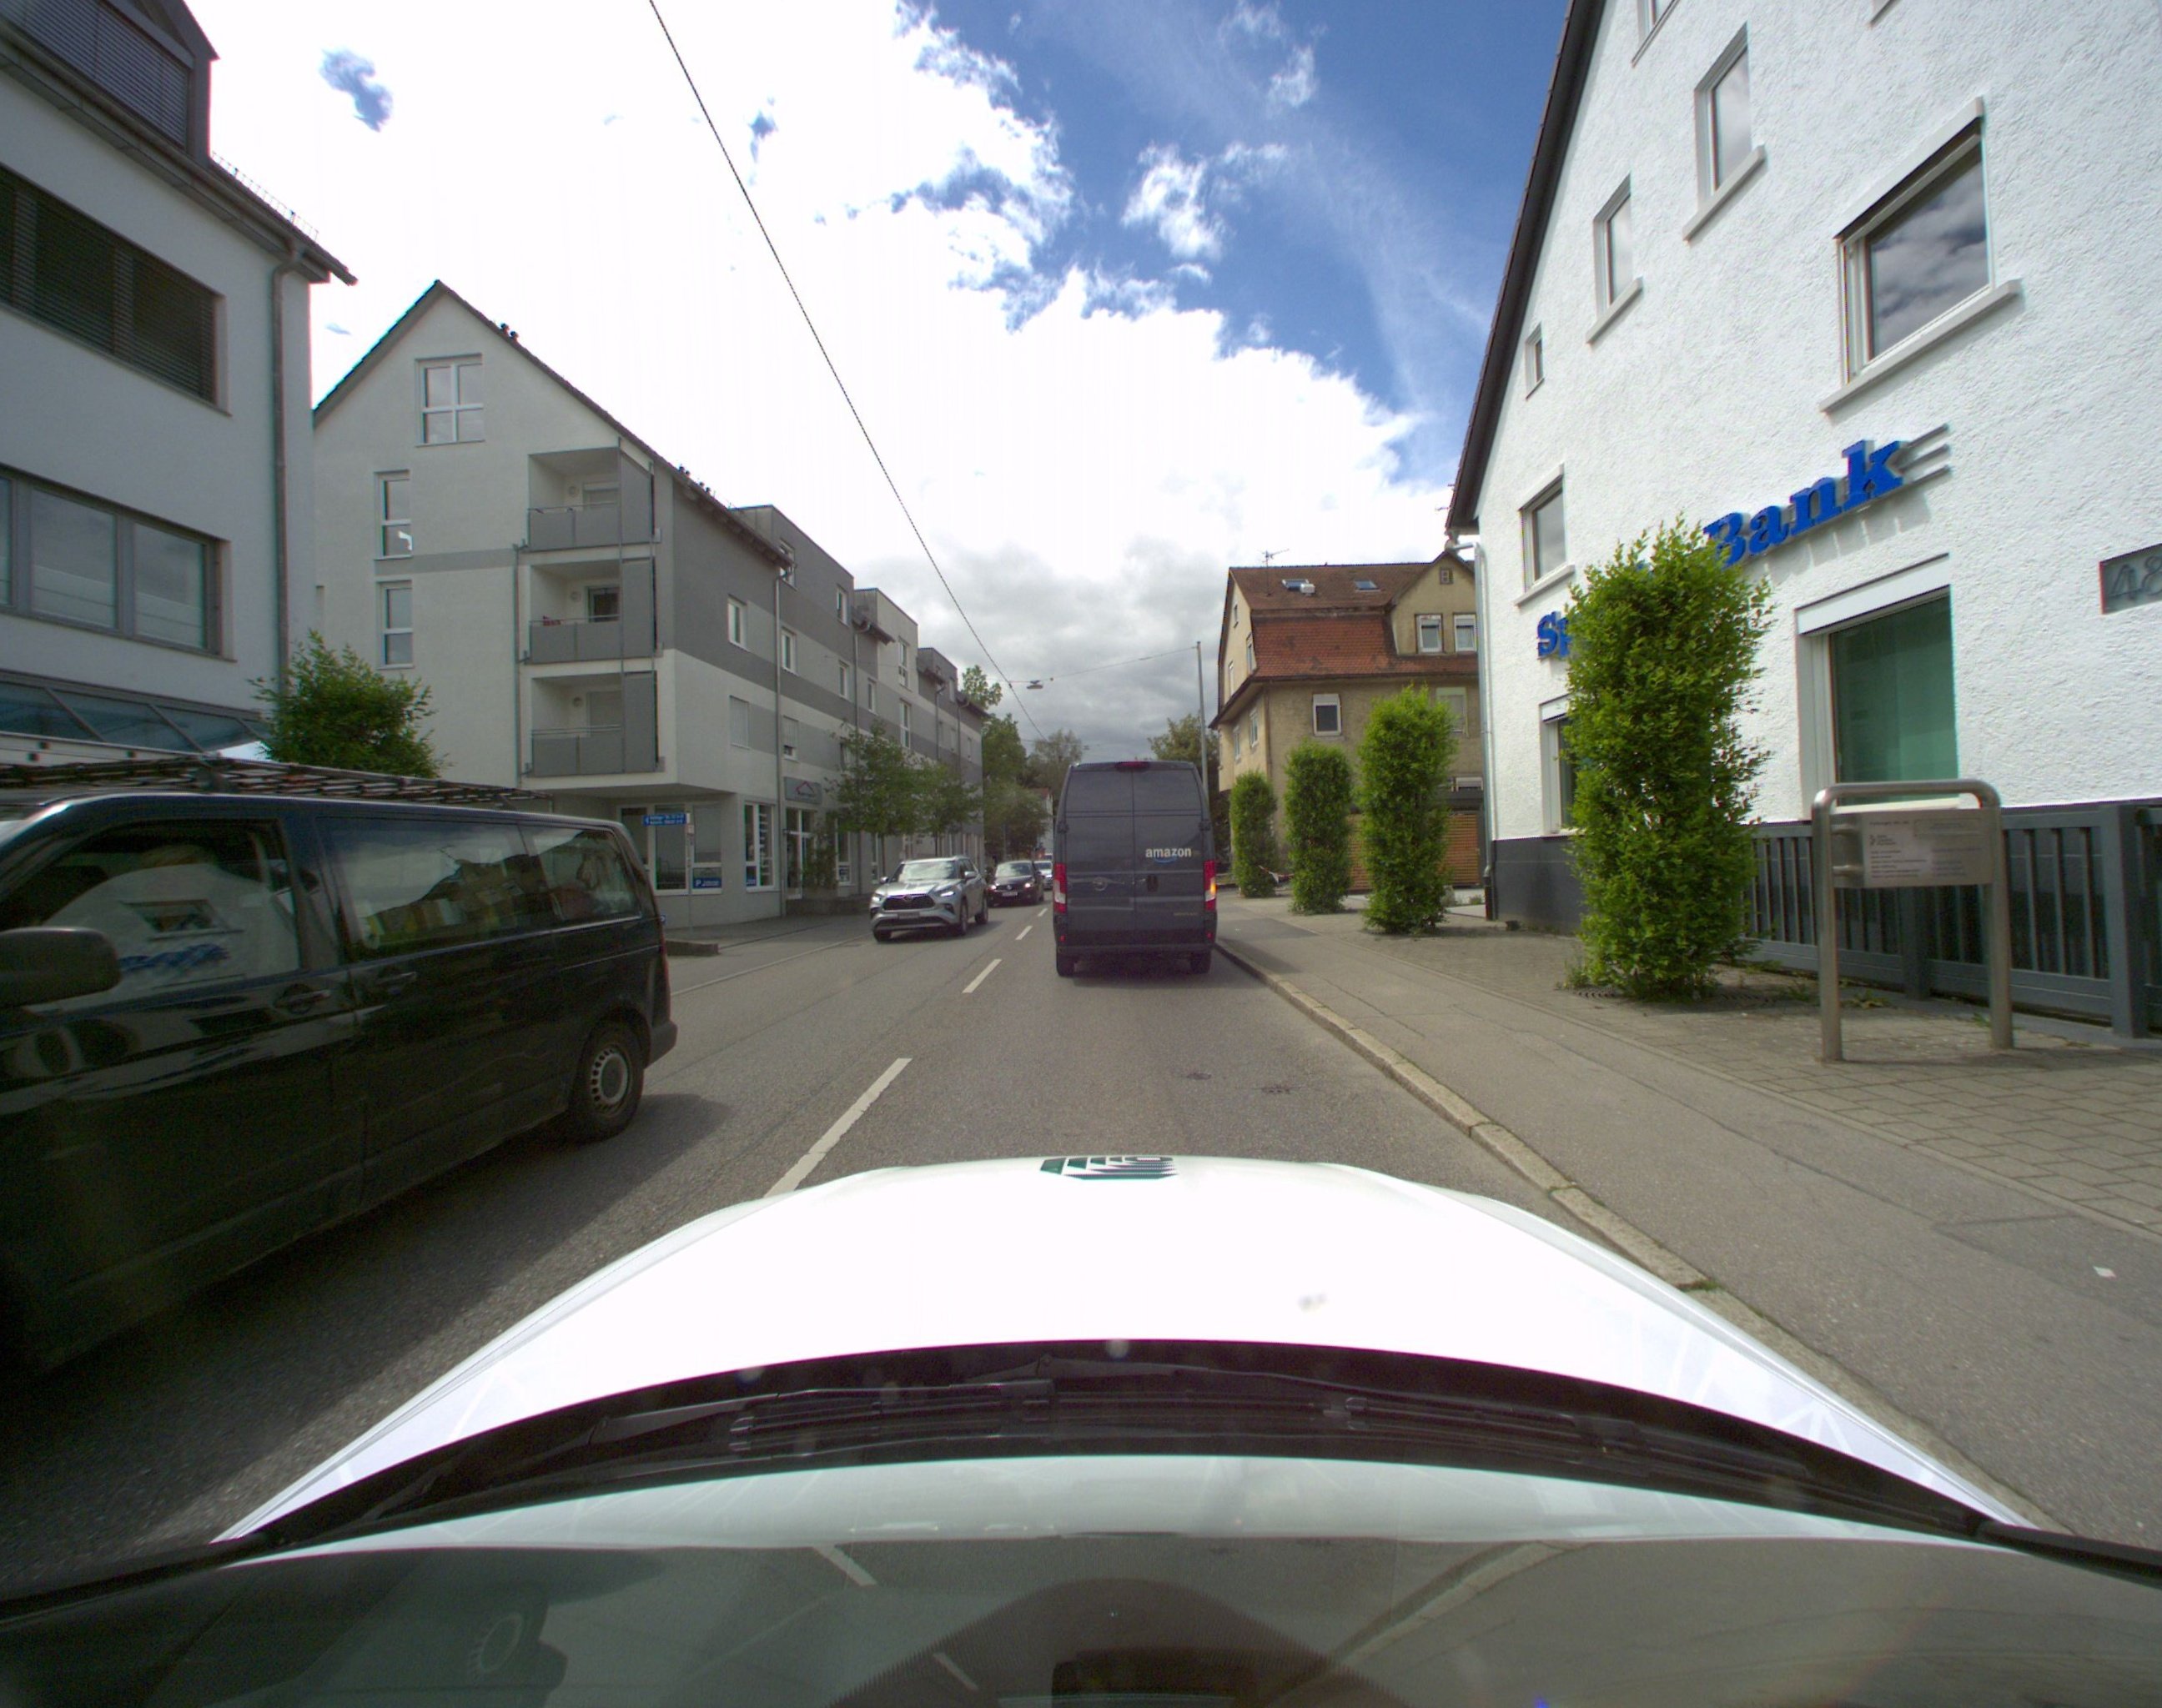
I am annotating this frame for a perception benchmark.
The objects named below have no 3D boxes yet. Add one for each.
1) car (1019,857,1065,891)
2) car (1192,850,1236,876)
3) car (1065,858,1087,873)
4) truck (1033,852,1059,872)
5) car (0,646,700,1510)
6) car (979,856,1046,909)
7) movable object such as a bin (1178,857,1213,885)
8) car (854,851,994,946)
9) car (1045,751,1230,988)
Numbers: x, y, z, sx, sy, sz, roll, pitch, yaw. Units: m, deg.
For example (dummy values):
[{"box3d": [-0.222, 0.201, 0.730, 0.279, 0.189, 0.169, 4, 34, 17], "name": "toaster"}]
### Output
[{"box3d": [-1.974, 1.002, 42.577, 1.890, 1.559, 4.802, -4, 0, 1], "name": "car"}, {"box3d": [9.318, 0.605, 56.861, 1.735, 1.517, 4.104, -6, -1, 27], "name": "car"}, {"box3d": [-0.467, 1.116, 82.478, 1.866, 1.424, 4.119, -1, 0, 3], "name": "car"}, {"box3d": [-4.261, 0.970, 101.221, 2.213, 2.380, 6.336, -1, -1, 6], "name": "truck"}, {"box3d": [-3.762, 0.602, 3.218, 2.104, 2.152, 4.882, -3, 0, 0], "name": "car"}, {"box3d": [-2.324, 0.936, 28.486, 1.825, 1.584, 4.038, -4, 0, 1], "name": "car"}, {"box3d": [5.447, 0.809, 38.756, 1.189, 1.266, 1.198, -1, -1, -28], "name": "movable object such as a bin"}, {"box3d": [-3.370, 0.900, 18.580, 1.979, 1.737, 4.798, -4, -1, 2], "name": "car"}, {"box3d": [0.682, 0.202, 12.823, 2.141, 2.770, 6.248, -1, 0, 0], "name": "car"}]
